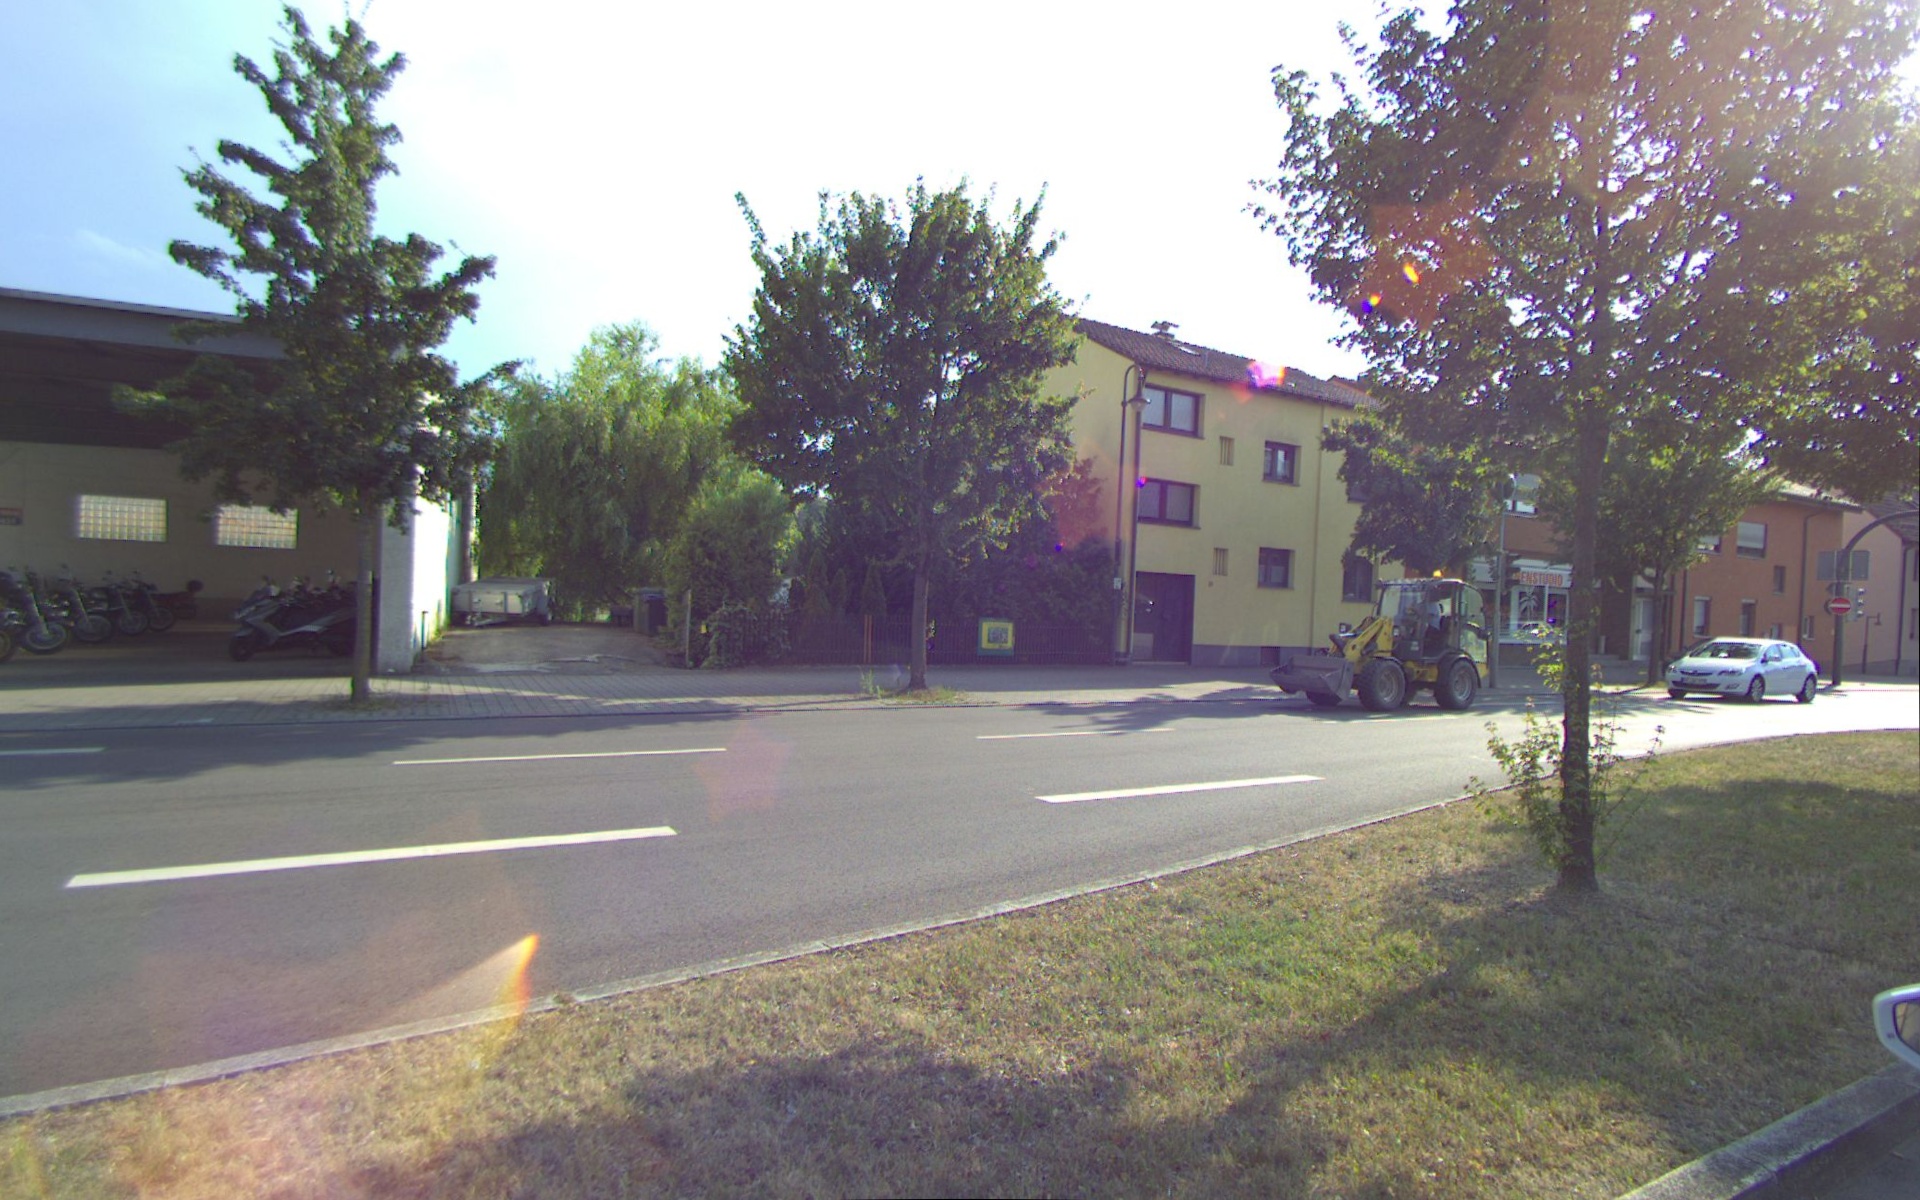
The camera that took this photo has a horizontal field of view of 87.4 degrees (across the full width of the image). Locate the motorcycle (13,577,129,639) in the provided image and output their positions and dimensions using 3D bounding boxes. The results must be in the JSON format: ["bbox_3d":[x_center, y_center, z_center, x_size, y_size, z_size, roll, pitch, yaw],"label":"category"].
[{"bbox_3d":[-17.183,0.145,19.419,2.006,1.114,0.551,1,1,10],"label":"motorcycle"}]

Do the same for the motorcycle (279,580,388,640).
[{"bbox_3d":[-14.328,0.228,23.038,0.516,1.318,2.088,2,1,33],"label":"motorcycle"}]

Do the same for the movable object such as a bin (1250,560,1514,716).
[{"bbox_3d":[7.577,0.667,17.890,4.916,2.494,1.546,2,0,-28],"label":"movable object such as a bin"}]

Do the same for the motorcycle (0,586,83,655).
[{"bbox_3d":[-16.116,0.330,17.171,2.006,1.114,0.551,1,1,10],"label":"motorcycle"}]

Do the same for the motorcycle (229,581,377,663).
[{"bbox_3d":[-11.289,0.365,17.335,0.516,1.318,2.088,2,1,33],"label":"motorcycle"}]

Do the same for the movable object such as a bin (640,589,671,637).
[{"bbox_3d":[-7.037,0.292,23.209,0.582,1.083,0.538,2,0,-27],"label":"movable object such as a bin"}]

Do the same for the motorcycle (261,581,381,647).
[{"bbox_3d":[-13.392,0.284,21.128,0.516,1.318,2.088,2,1,33],"label":"motorcycle"}]

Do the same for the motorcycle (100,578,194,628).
[{"bbox_3d":[-19.241,0.070,23.775,2.006,1.114,0.551,1,1,10],"label":"motorcycle"}]

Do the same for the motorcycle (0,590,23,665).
[{"bbox_3d":[-15.172,0.384,15.057,2.006,1.114,0.551,1,1,10],"label":"motorcycle"}]

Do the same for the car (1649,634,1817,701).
[{"bbox_3d":[18.712,1.609,24.282,4.162,1.433,1.684,2,0,-29],"label":"car"}]

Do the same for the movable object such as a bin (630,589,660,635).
[{"bbox_3d":[-7.495,0.282,23.919,0.582,1.083,0.538,2,0,-27],"label":"movable object such as a bin"}]

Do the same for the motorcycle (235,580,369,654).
[{"bbox_3d":[-12.394,0.309,18.990,0.516,1.318,2.088,2,1,33],"label":"motorcycle"}]

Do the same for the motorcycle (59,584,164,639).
[{"bbox_3d":[-18.205,0.242,21.564,2.006,1.114,0.551,1,1,10],"label":"motorcycle"}]

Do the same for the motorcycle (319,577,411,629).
[{"bbox_3d":[-15.796,0.078,26.712,0.516,1.318,2.088,2,1,33],"label":"motorcycle"}]

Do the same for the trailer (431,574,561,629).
[{"bbox_3d":[-10.906,0.006,23.876,2.131,1.127,3.358,2,1,-14],"label":"trailer"}]

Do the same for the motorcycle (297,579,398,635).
[{"bbox_3d":[-15.061,0.183,24.747,0.516,1.318,2.088,2,1,33],"label":"motorcycle"}]

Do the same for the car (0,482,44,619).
[{"bbox_3d":[-23.190,-1.123,20.715,2.628,2.999,5.793,2,0,27],"label":"car"}]

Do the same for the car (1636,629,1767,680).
[{"bbox_3d":[23.013,1.682,31.169,3.893,1.433,1.788,2,0,-29],"label":"car"}]
